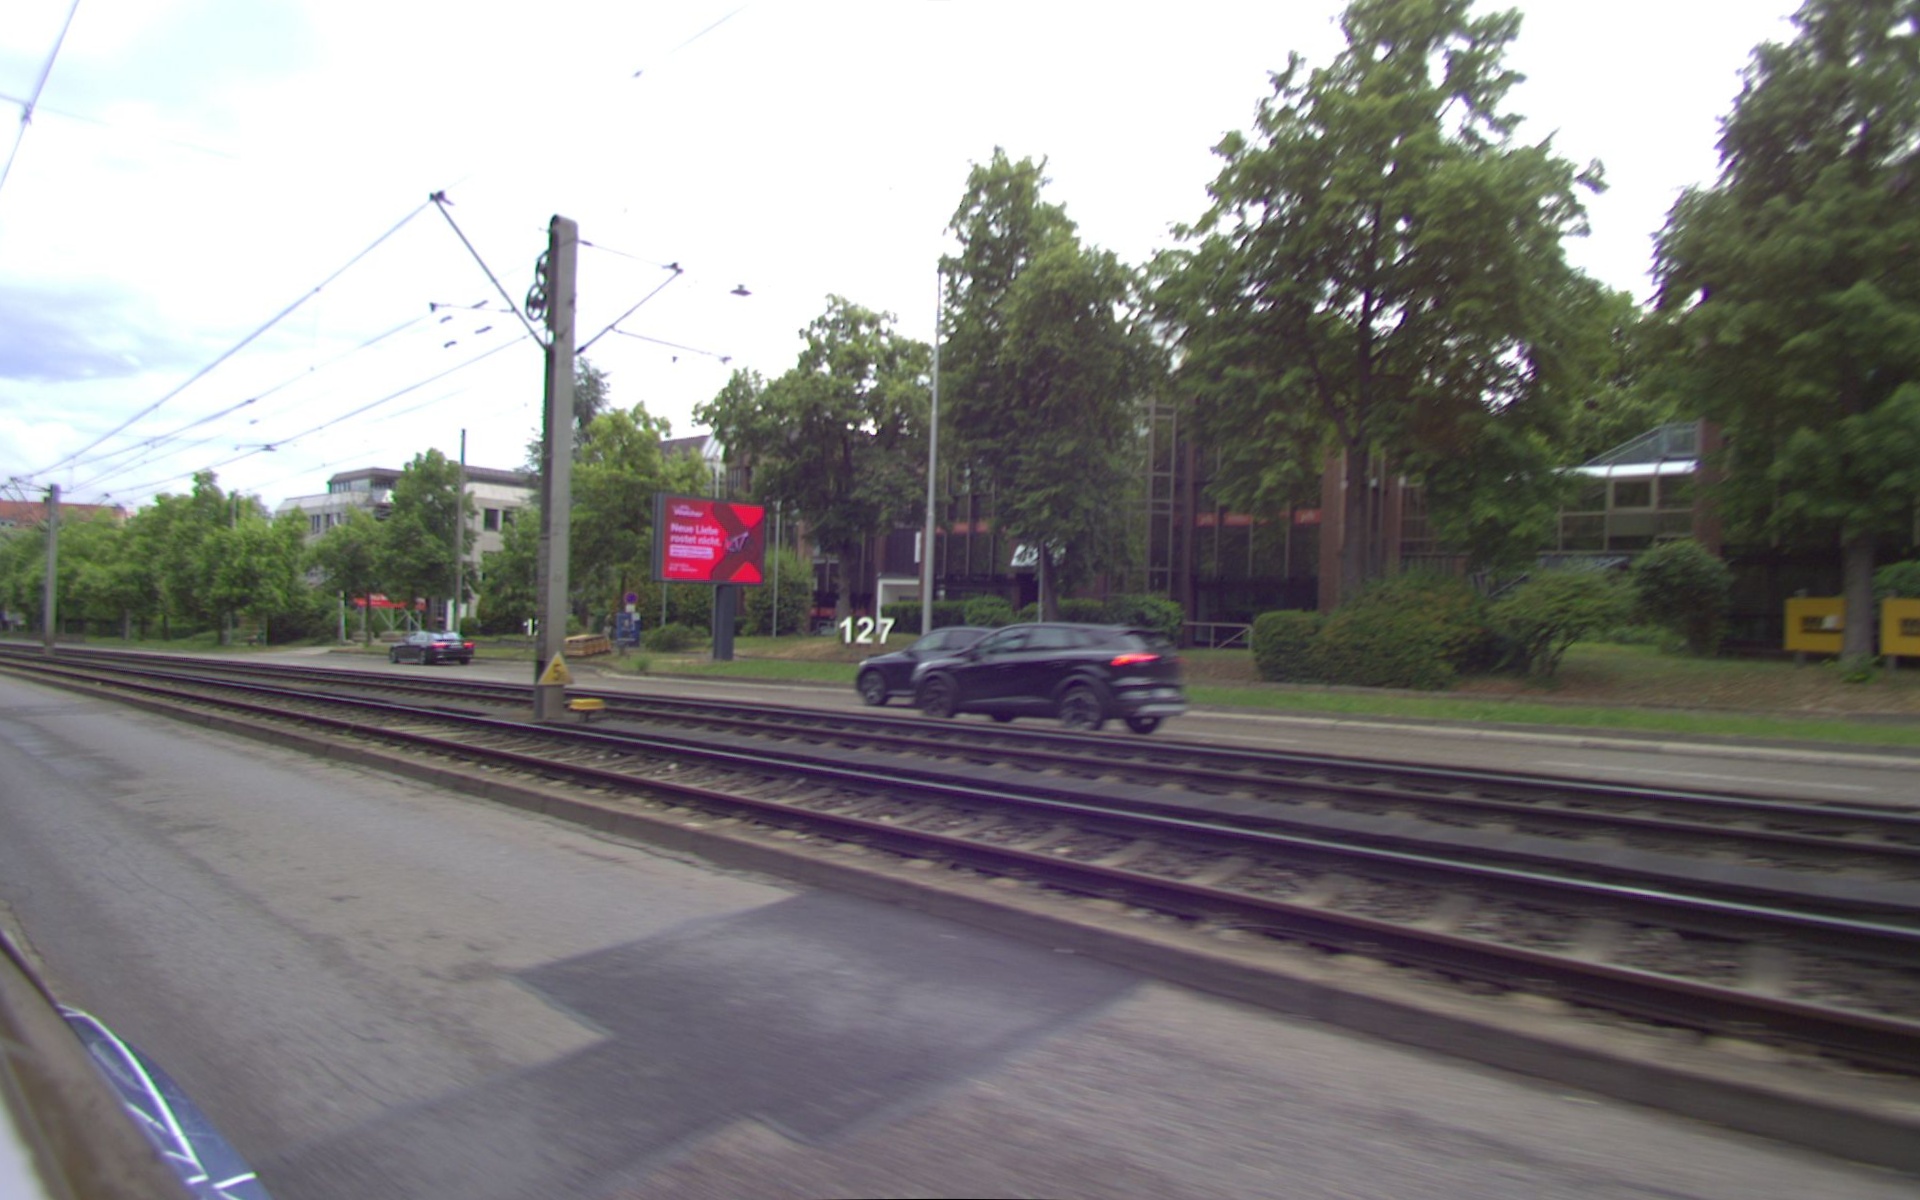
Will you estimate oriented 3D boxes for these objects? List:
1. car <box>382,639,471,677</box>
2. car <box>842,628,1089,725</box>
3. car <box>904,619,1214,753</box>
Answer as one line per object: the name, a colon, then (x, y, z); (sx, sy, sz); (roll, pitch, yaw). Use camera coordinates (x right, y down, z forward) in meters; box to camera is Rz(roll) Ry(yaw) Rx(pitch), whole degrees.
car: (-23.358, 2.510, 44.252); (4.617, 1.542, 1.777); (-2, -2, 39)
car: (0.029, 1.438, 19.915); (4.611, 1.669, 1.993); (-1, -4, 39)
car: (1.335, 1.137, 14.729); (4.237, 1.669, 1.816); (-1, -2, 41)
